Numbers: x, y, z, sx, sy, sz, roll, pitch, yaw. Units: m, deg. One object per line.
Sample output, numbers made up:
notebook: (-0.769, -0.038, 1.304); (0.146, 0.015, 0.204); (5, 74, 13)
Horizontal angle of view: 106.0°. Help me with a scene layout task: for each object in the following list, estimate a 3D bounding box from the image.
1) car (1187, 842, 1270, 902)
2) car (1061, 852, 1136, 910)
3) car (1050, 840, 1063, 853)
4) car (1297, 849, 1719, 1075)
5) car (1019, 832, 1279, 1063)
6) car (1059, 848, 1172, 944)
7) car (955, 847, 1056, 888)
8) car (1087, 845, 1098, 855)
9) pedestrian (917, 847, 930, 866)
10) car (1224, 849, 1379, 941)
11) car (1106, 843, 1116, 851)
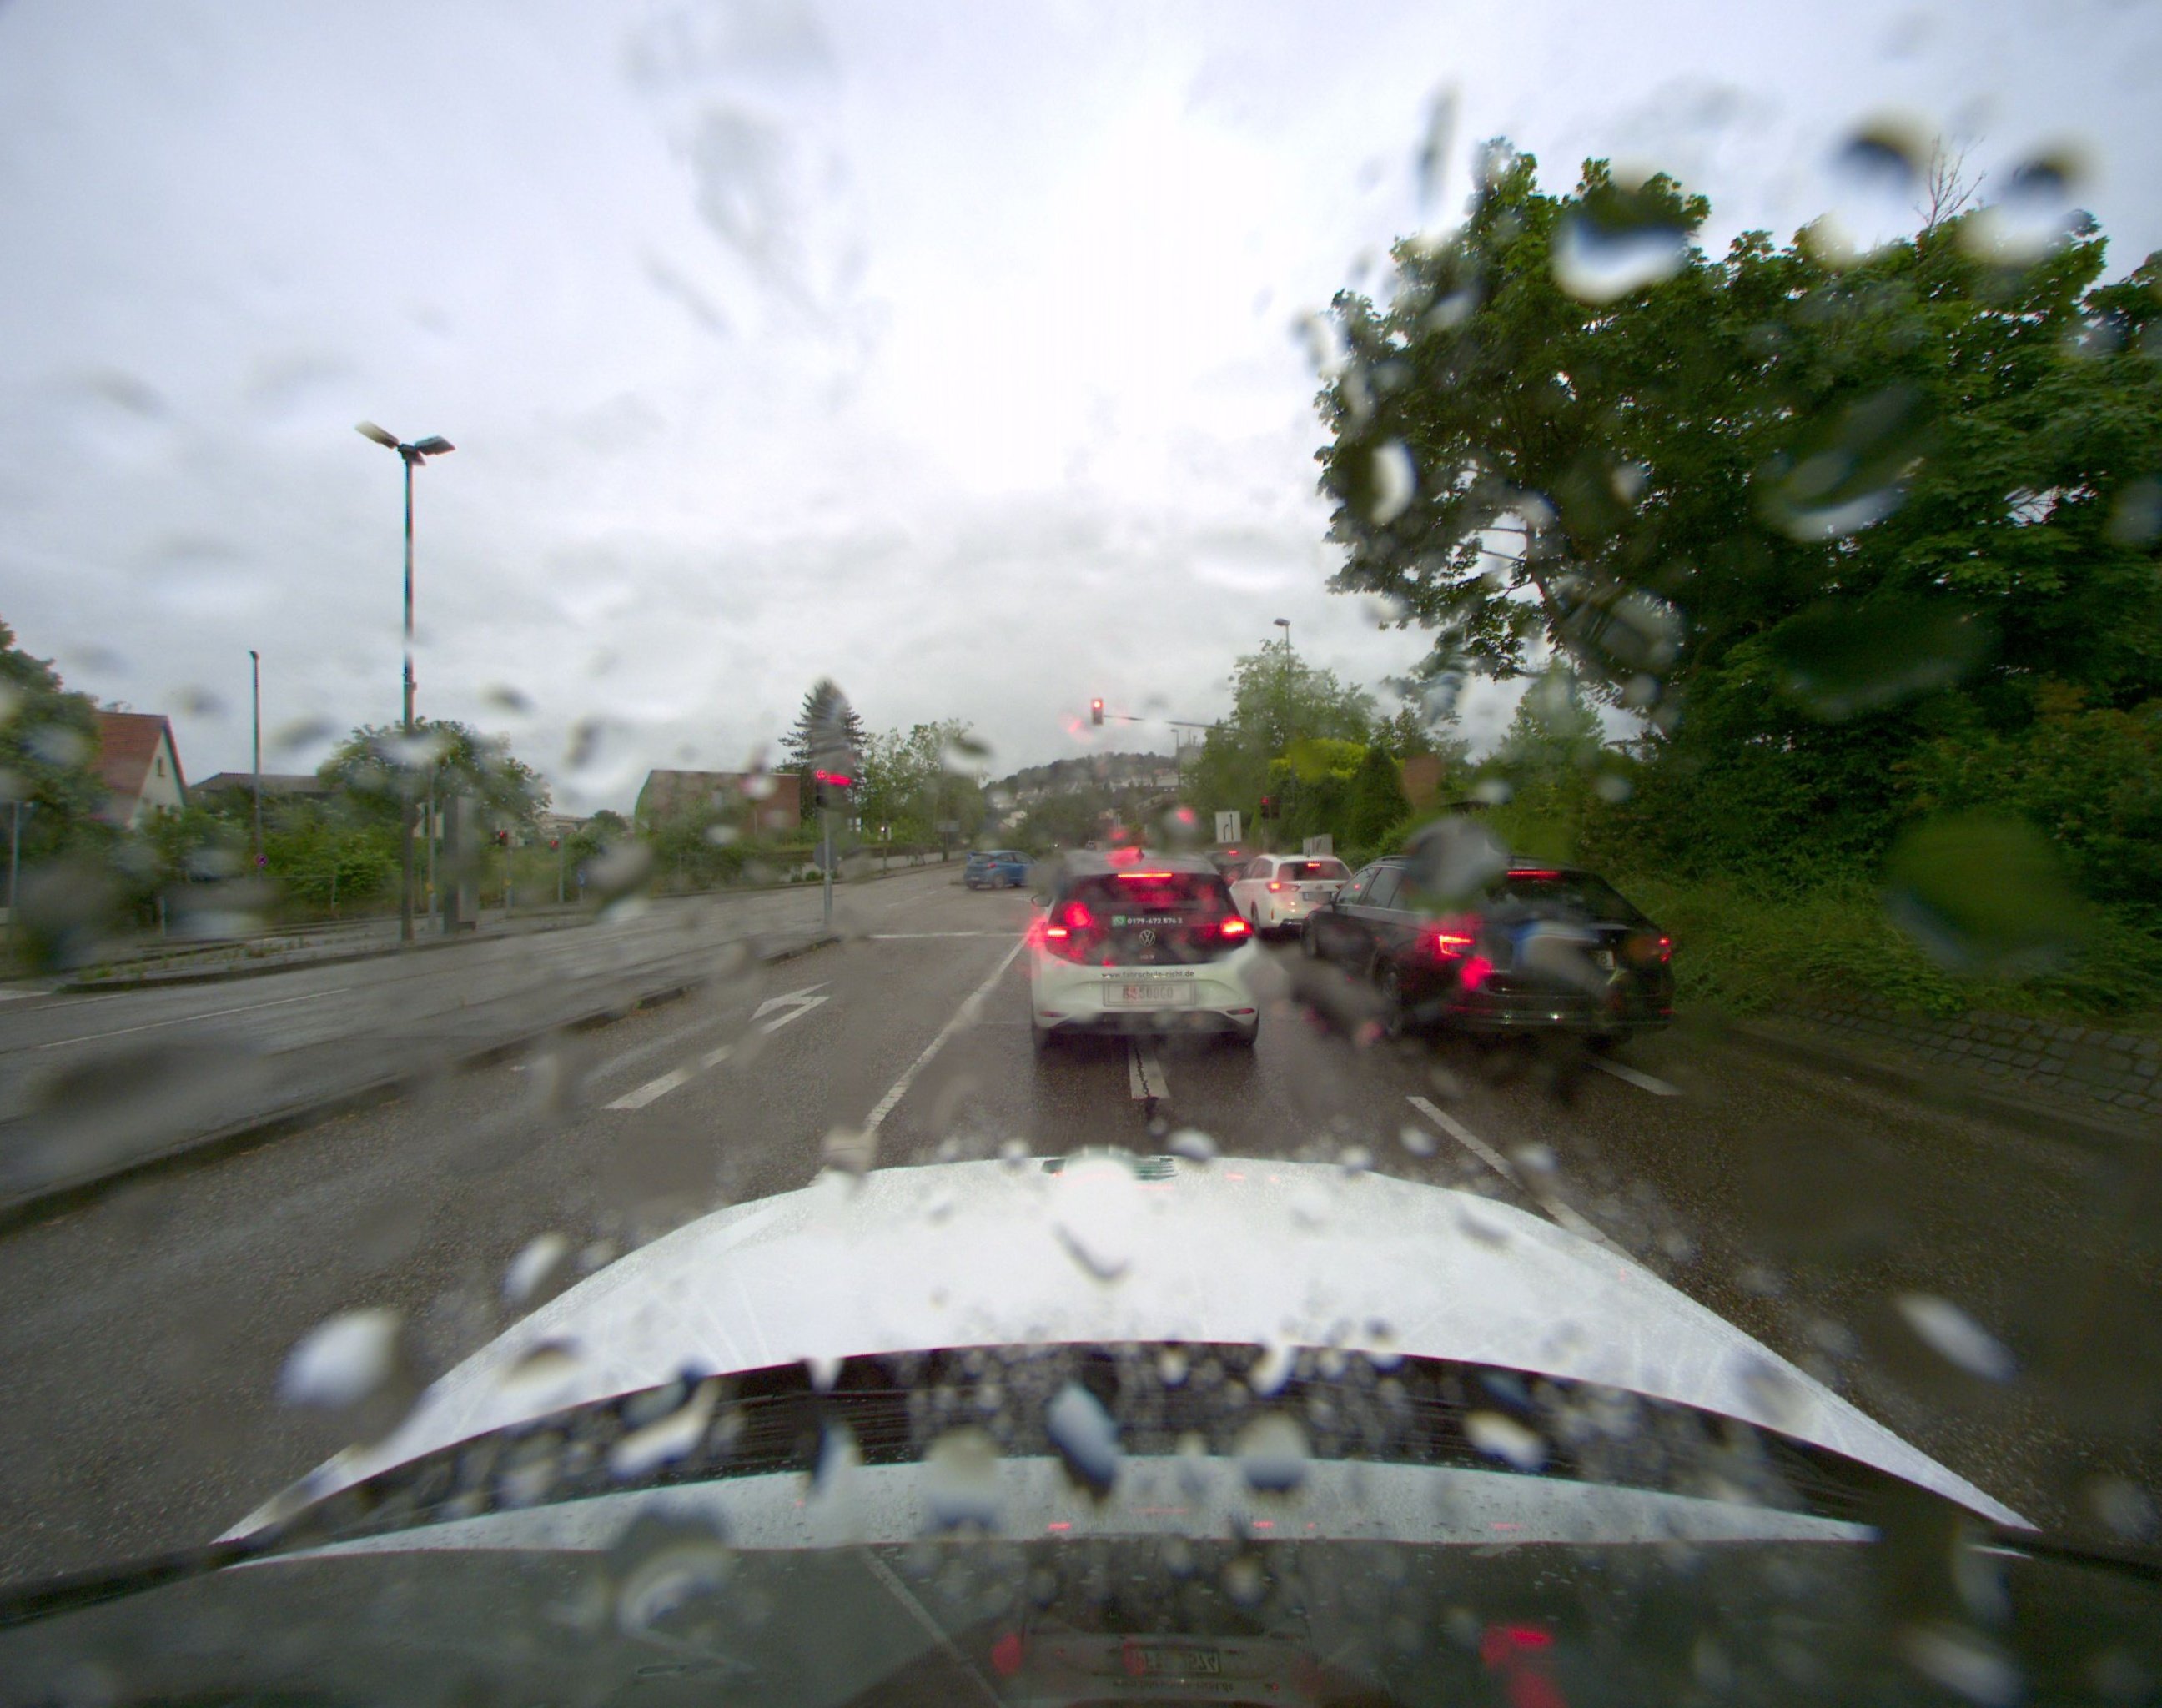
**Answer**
car: (4.132, 0.482, 23.366); (1.769, 1.581, 4.002); (0, 0, 2)
car: (0.471, 0.645, 21.727); (1.831, 1.400, 3.832); (0, 0, 1)
car: (-4.165, -1.310, 140.633); (1.986, 2.014, 4.002); (-1, -1, 2)
car: (3.364, 0.687, 7.509); (1.830, 1.466, 4.353); (0, 0, 3)
car: (0.532, 0.645, 8.057); (1.831, 1.629, 4.617); (0, 0, 1)
car: (0.607, 0.665, 15.306); (1.831, 1.555, 4.176); (0, 0, 1)
car: (-2.977, 0.521, 32.544); (1.744, 1.418, 3.772); (-2, 1, 44)
car: (1.979, -0.642, 136.611); (1.769, 1.581, 4.002); (-3, 0, 2)
pedestrian: (-13.120, 0.227, 67.882); (0.757, 1.568, 0.825); (-4, 0, 1)
car: (3.862, 0.638, 14.983); (1.831, 1.466, 4.118); (0, 0, 1)
car: (6.184, -1.392, 168.045); (1.769, 1.581, 4.002); (-3, 0, 2)
